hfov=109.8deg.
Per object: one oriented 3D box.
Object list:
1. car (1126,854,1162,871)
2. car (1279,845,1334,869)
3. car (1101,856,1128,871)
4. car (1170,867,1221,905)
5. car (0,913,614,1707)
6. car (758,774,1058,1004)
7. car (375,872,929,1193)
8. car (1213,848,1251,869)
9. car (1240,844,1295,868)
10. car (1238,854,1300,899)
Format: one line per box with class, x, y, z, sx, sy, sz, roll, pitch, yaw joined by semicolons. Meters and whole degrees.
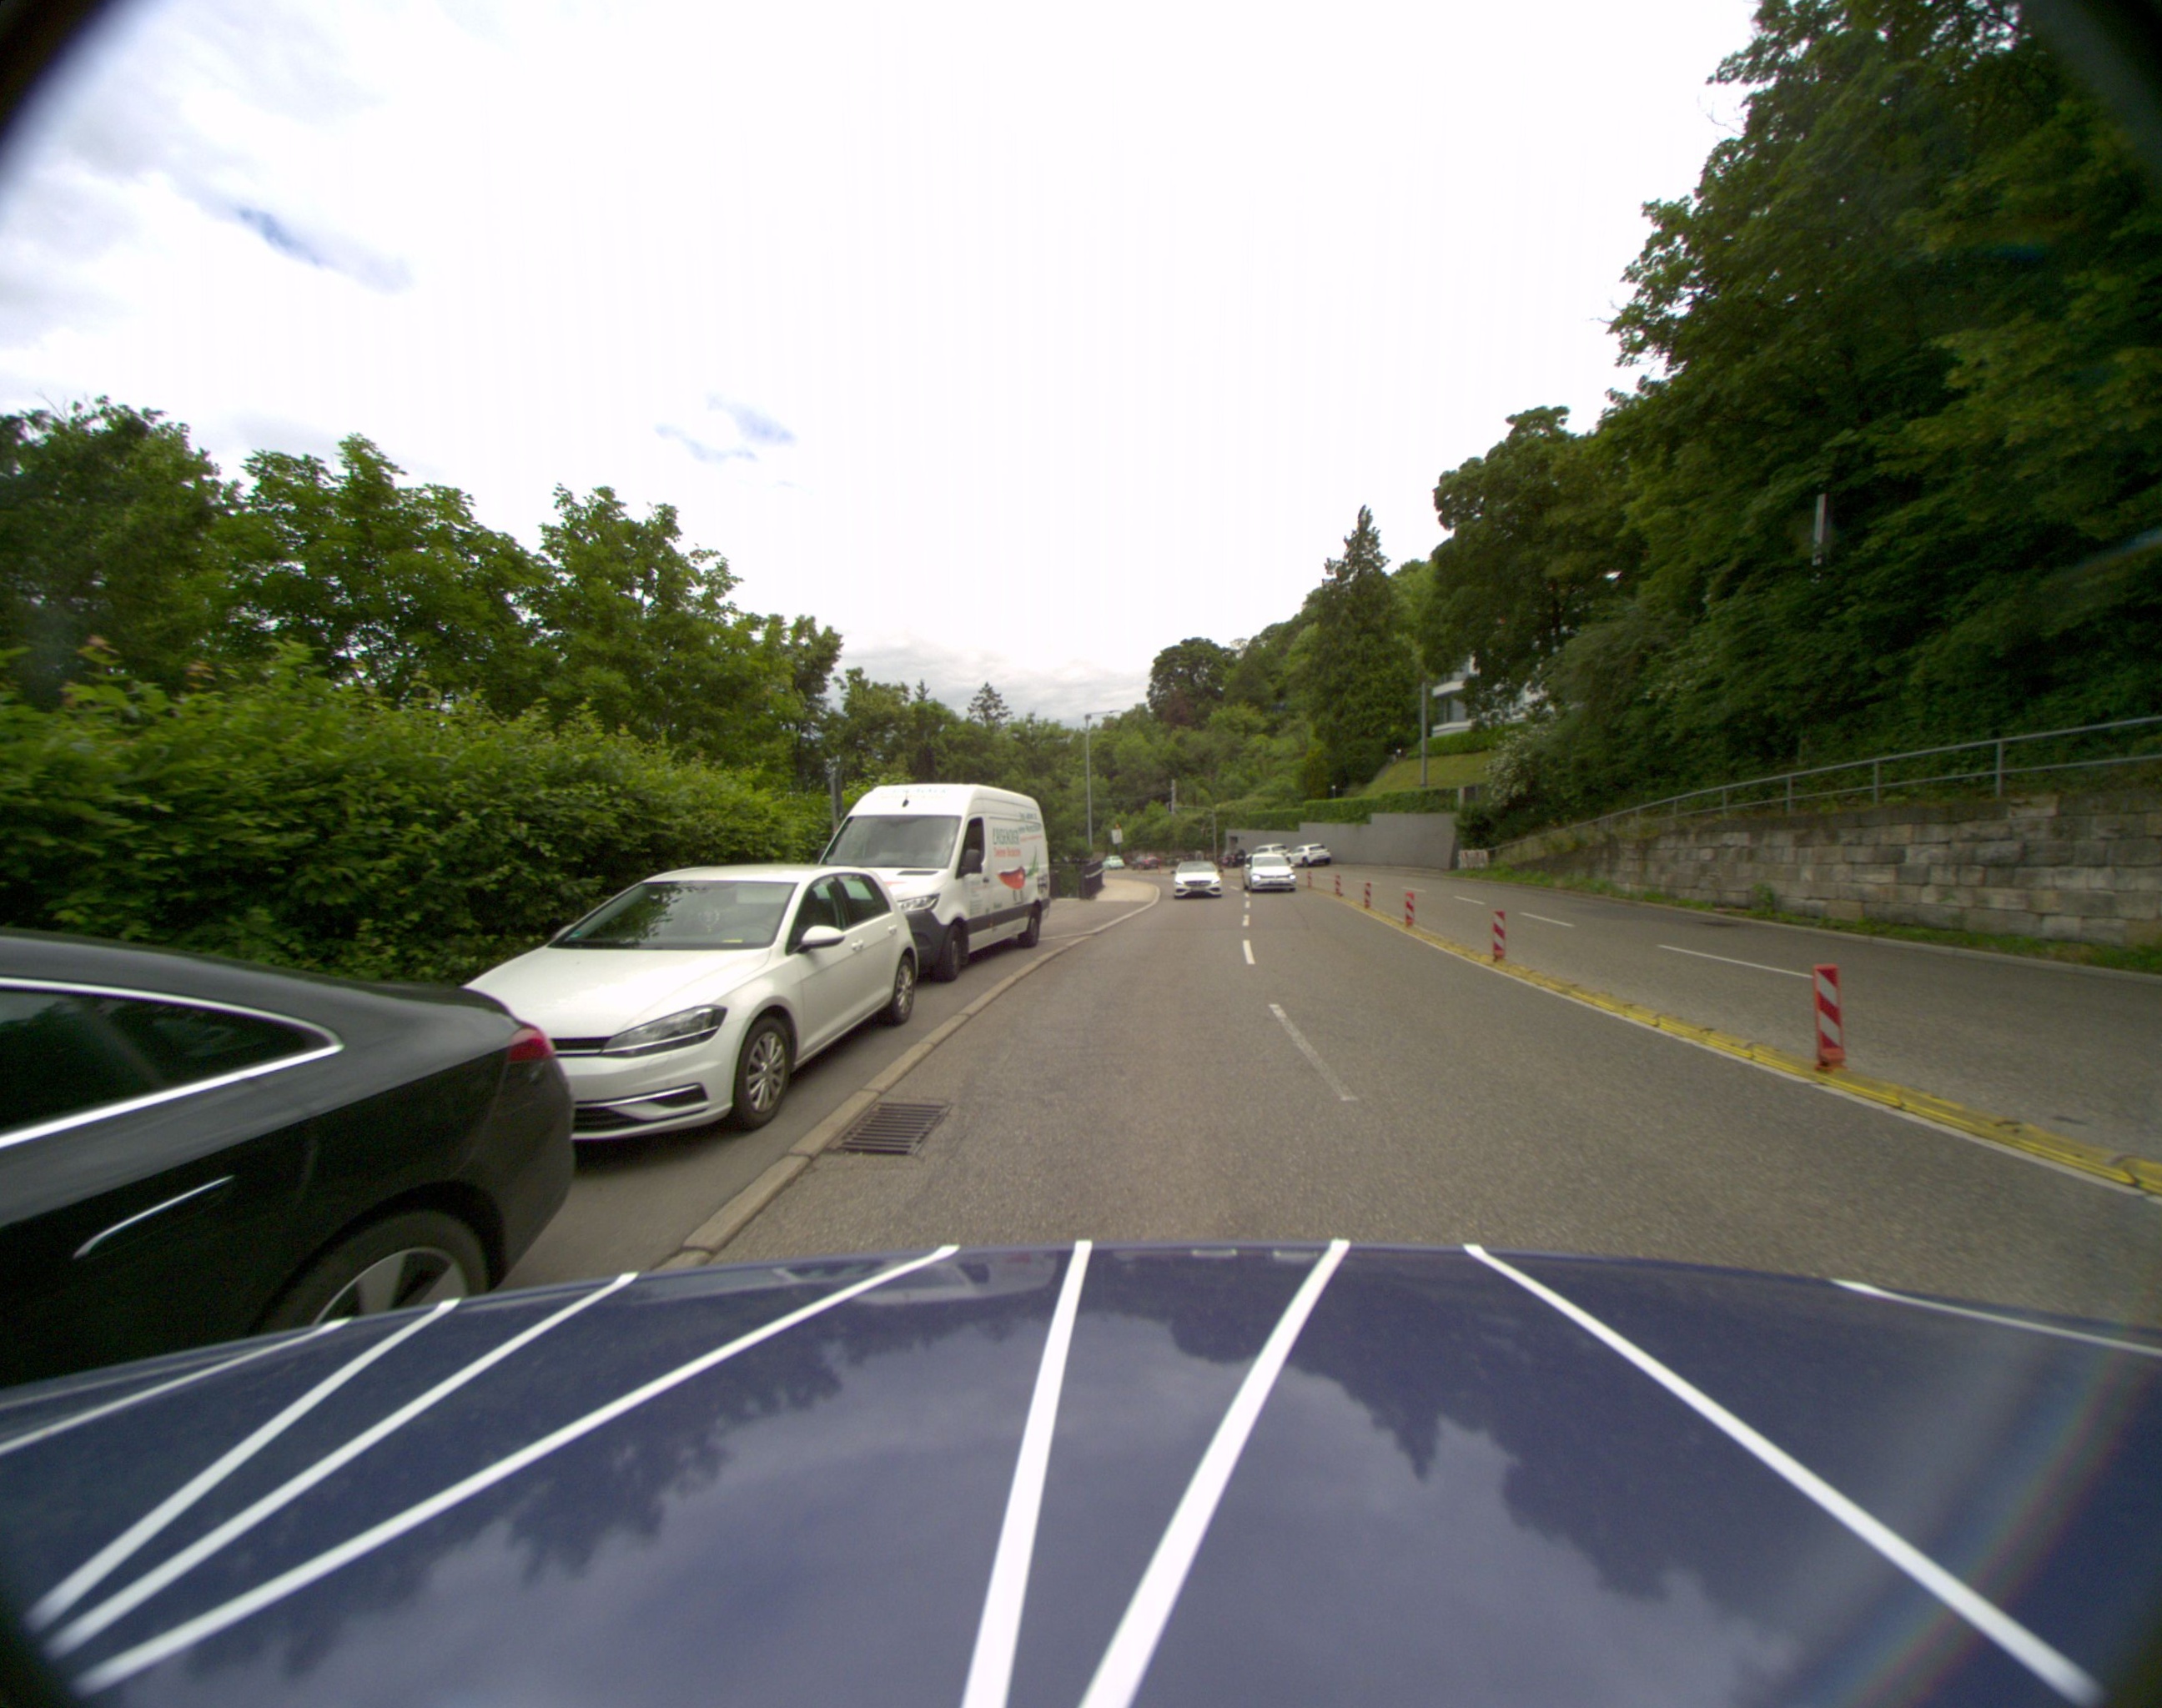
car;6.247;0.851;75.992;1.718;1.588;4.199;-4;1;-22
car;16.080;0.196;54.517;1.839;1.563;4.470;-5;1;-11
car;3.679;1.041;83.991;1.717;1.458;3.655;-5;0;-17
car;4.548;1.208;30.001;1.796;1.298;4.104;-3;-1;9
car;-2.570;0.952;0.352;1.705;1.455;4.664;-1;0;1
car;-2.062;0.366;11.342;2.087;2.509;5.850;0;0;12
car;-2.521;0.931;5.667;1.704;1.455;3.836;-1;0;5
car;12.865;0.421;64.781;1.717;1.564;2.953;-7;1;-19
car;14.695;0.174;60.123;1.866;1.721;4.754;-6;1;-18
car;7.771;0.883;31.760;1.885;1.569;4.001;-4;1;6
